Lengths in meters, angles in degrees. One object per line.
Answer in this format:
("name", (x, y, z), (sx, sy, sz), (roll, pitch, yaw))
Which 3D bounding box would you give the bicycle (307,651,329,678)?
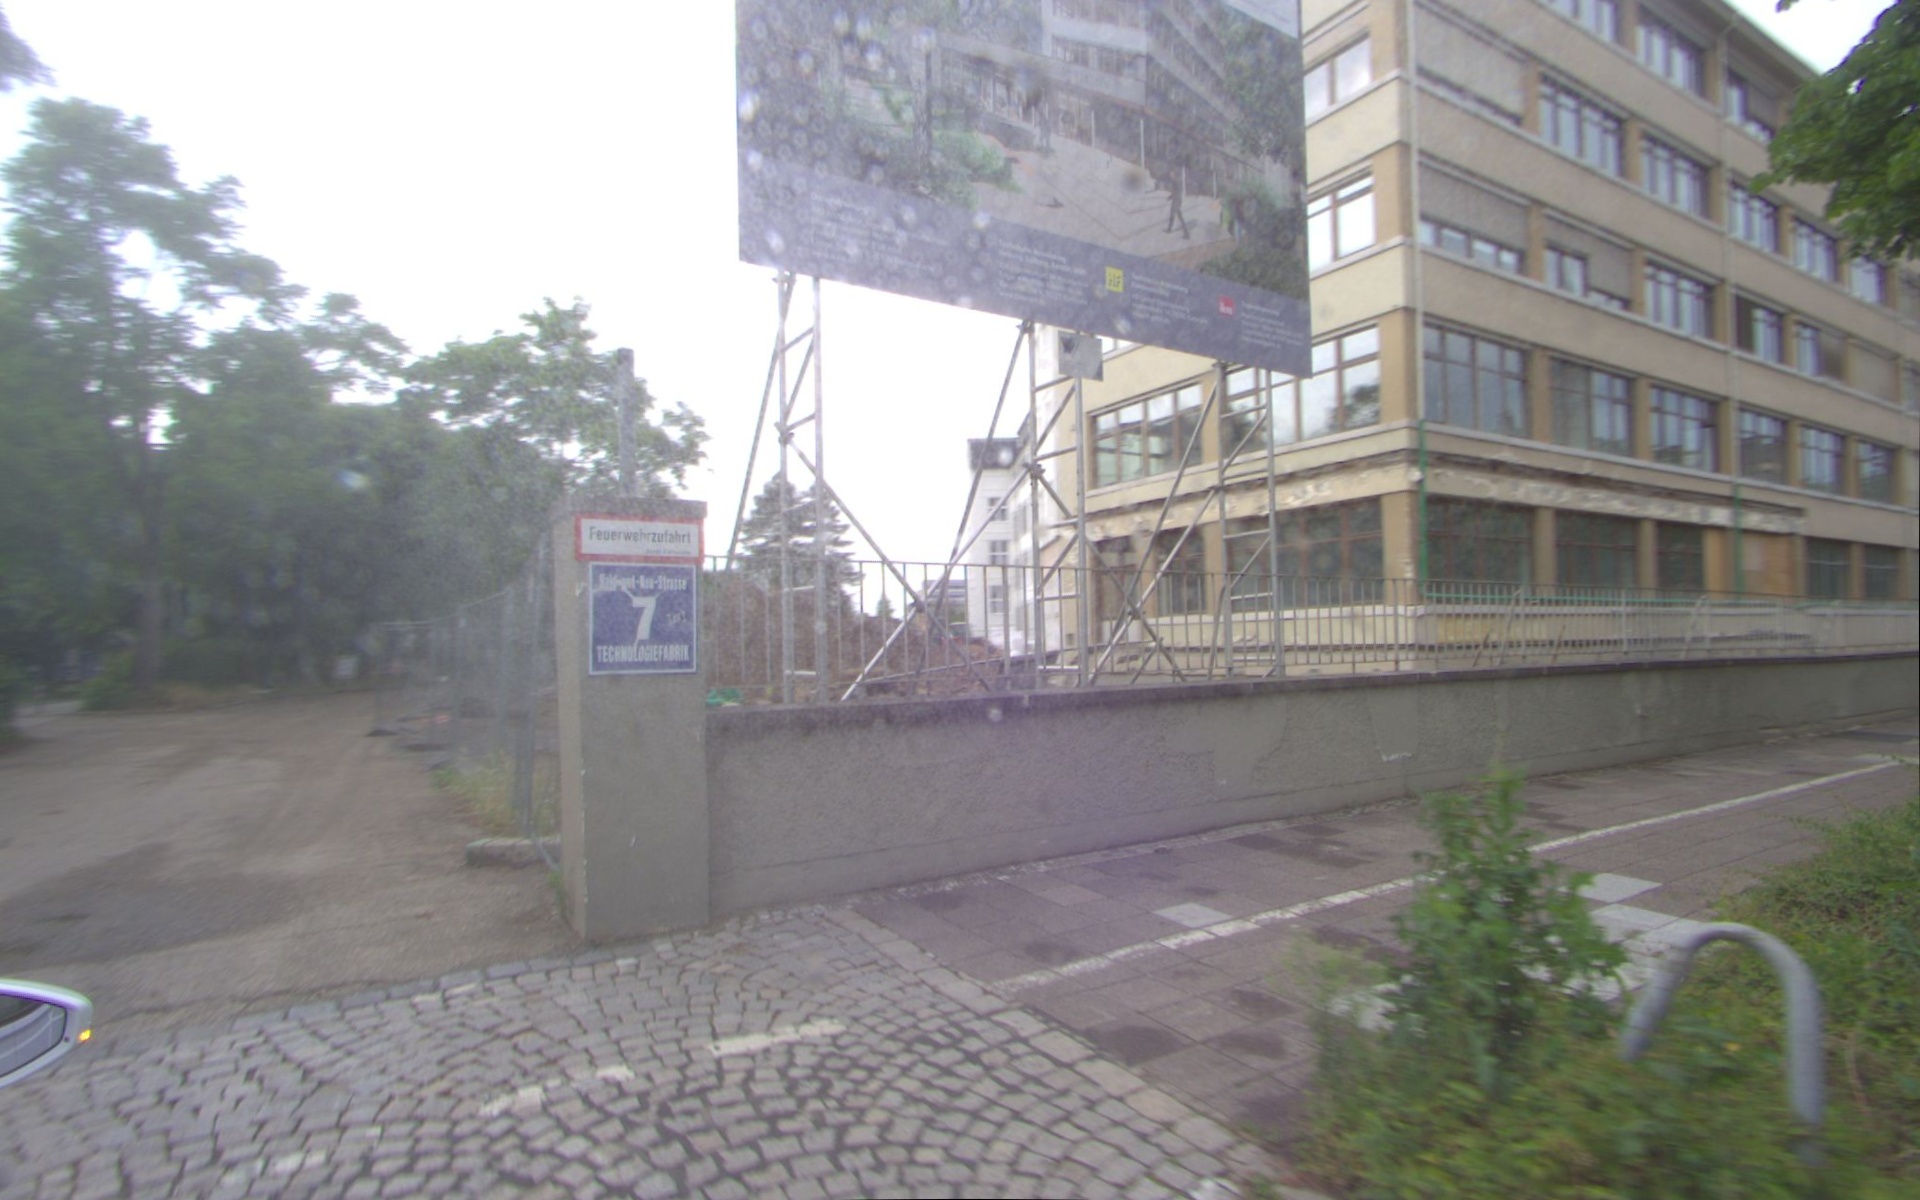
("bicycle", (-22.720, 2.279, 35.452), (0.413, 0.917, 1.151), (0, -2, -21))

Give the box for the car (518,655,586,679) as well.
("car", (-26.339, 4.321, 64.723), (3.639, 1.519, 1.869), (0, -2, -2))

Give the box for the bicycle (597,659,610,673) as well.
("bicycle", (-26.556, 4.938, 74.567), (0.759, 0.990, 2.029), (0, -3, -16))
